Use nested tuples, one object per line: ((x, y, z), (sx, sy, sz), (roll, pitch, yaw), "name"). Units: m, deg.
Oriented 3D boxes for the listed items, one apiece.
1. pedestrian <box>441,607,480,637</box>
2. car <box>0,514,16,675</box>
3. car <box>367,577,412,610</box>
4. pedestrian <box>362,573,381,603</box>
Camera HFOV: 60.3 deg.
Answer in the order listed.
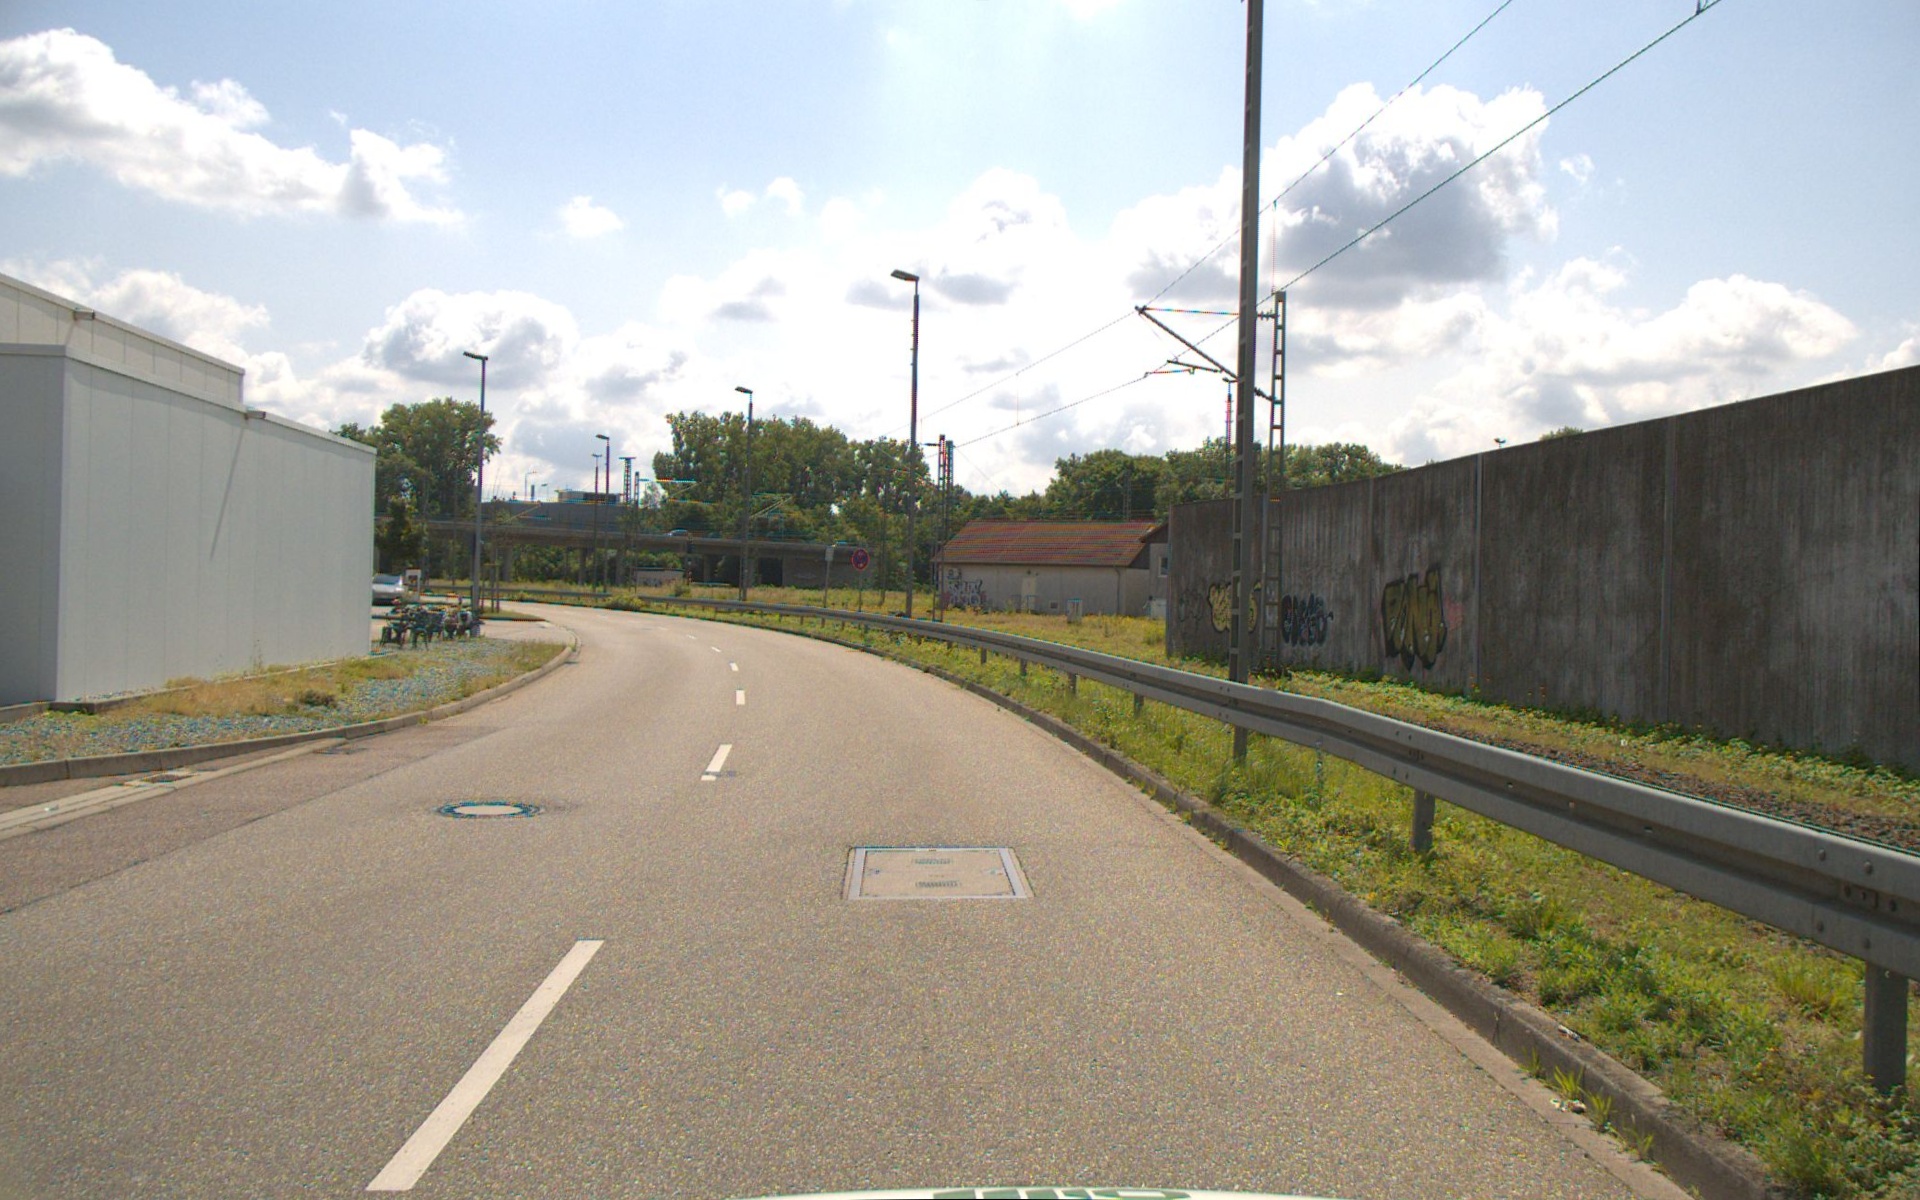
((-13.381, 0.588, 44.341), (0.846, 0.773, 0.816), (3, -1, -8), "pedestrian")
((-13.467, -0.088, 19.796), (1.956, 2.146, 5.002), (1, 0, -7), "car")
((-30.141, -0.371, 87.544), (1.899, 1.544, 4.756), (2, 1, -16), "car")
((-32.141, -0.654, 90.344), (0.696, 1.607, 0.722), (1, -1, 19), "pedestrian")
